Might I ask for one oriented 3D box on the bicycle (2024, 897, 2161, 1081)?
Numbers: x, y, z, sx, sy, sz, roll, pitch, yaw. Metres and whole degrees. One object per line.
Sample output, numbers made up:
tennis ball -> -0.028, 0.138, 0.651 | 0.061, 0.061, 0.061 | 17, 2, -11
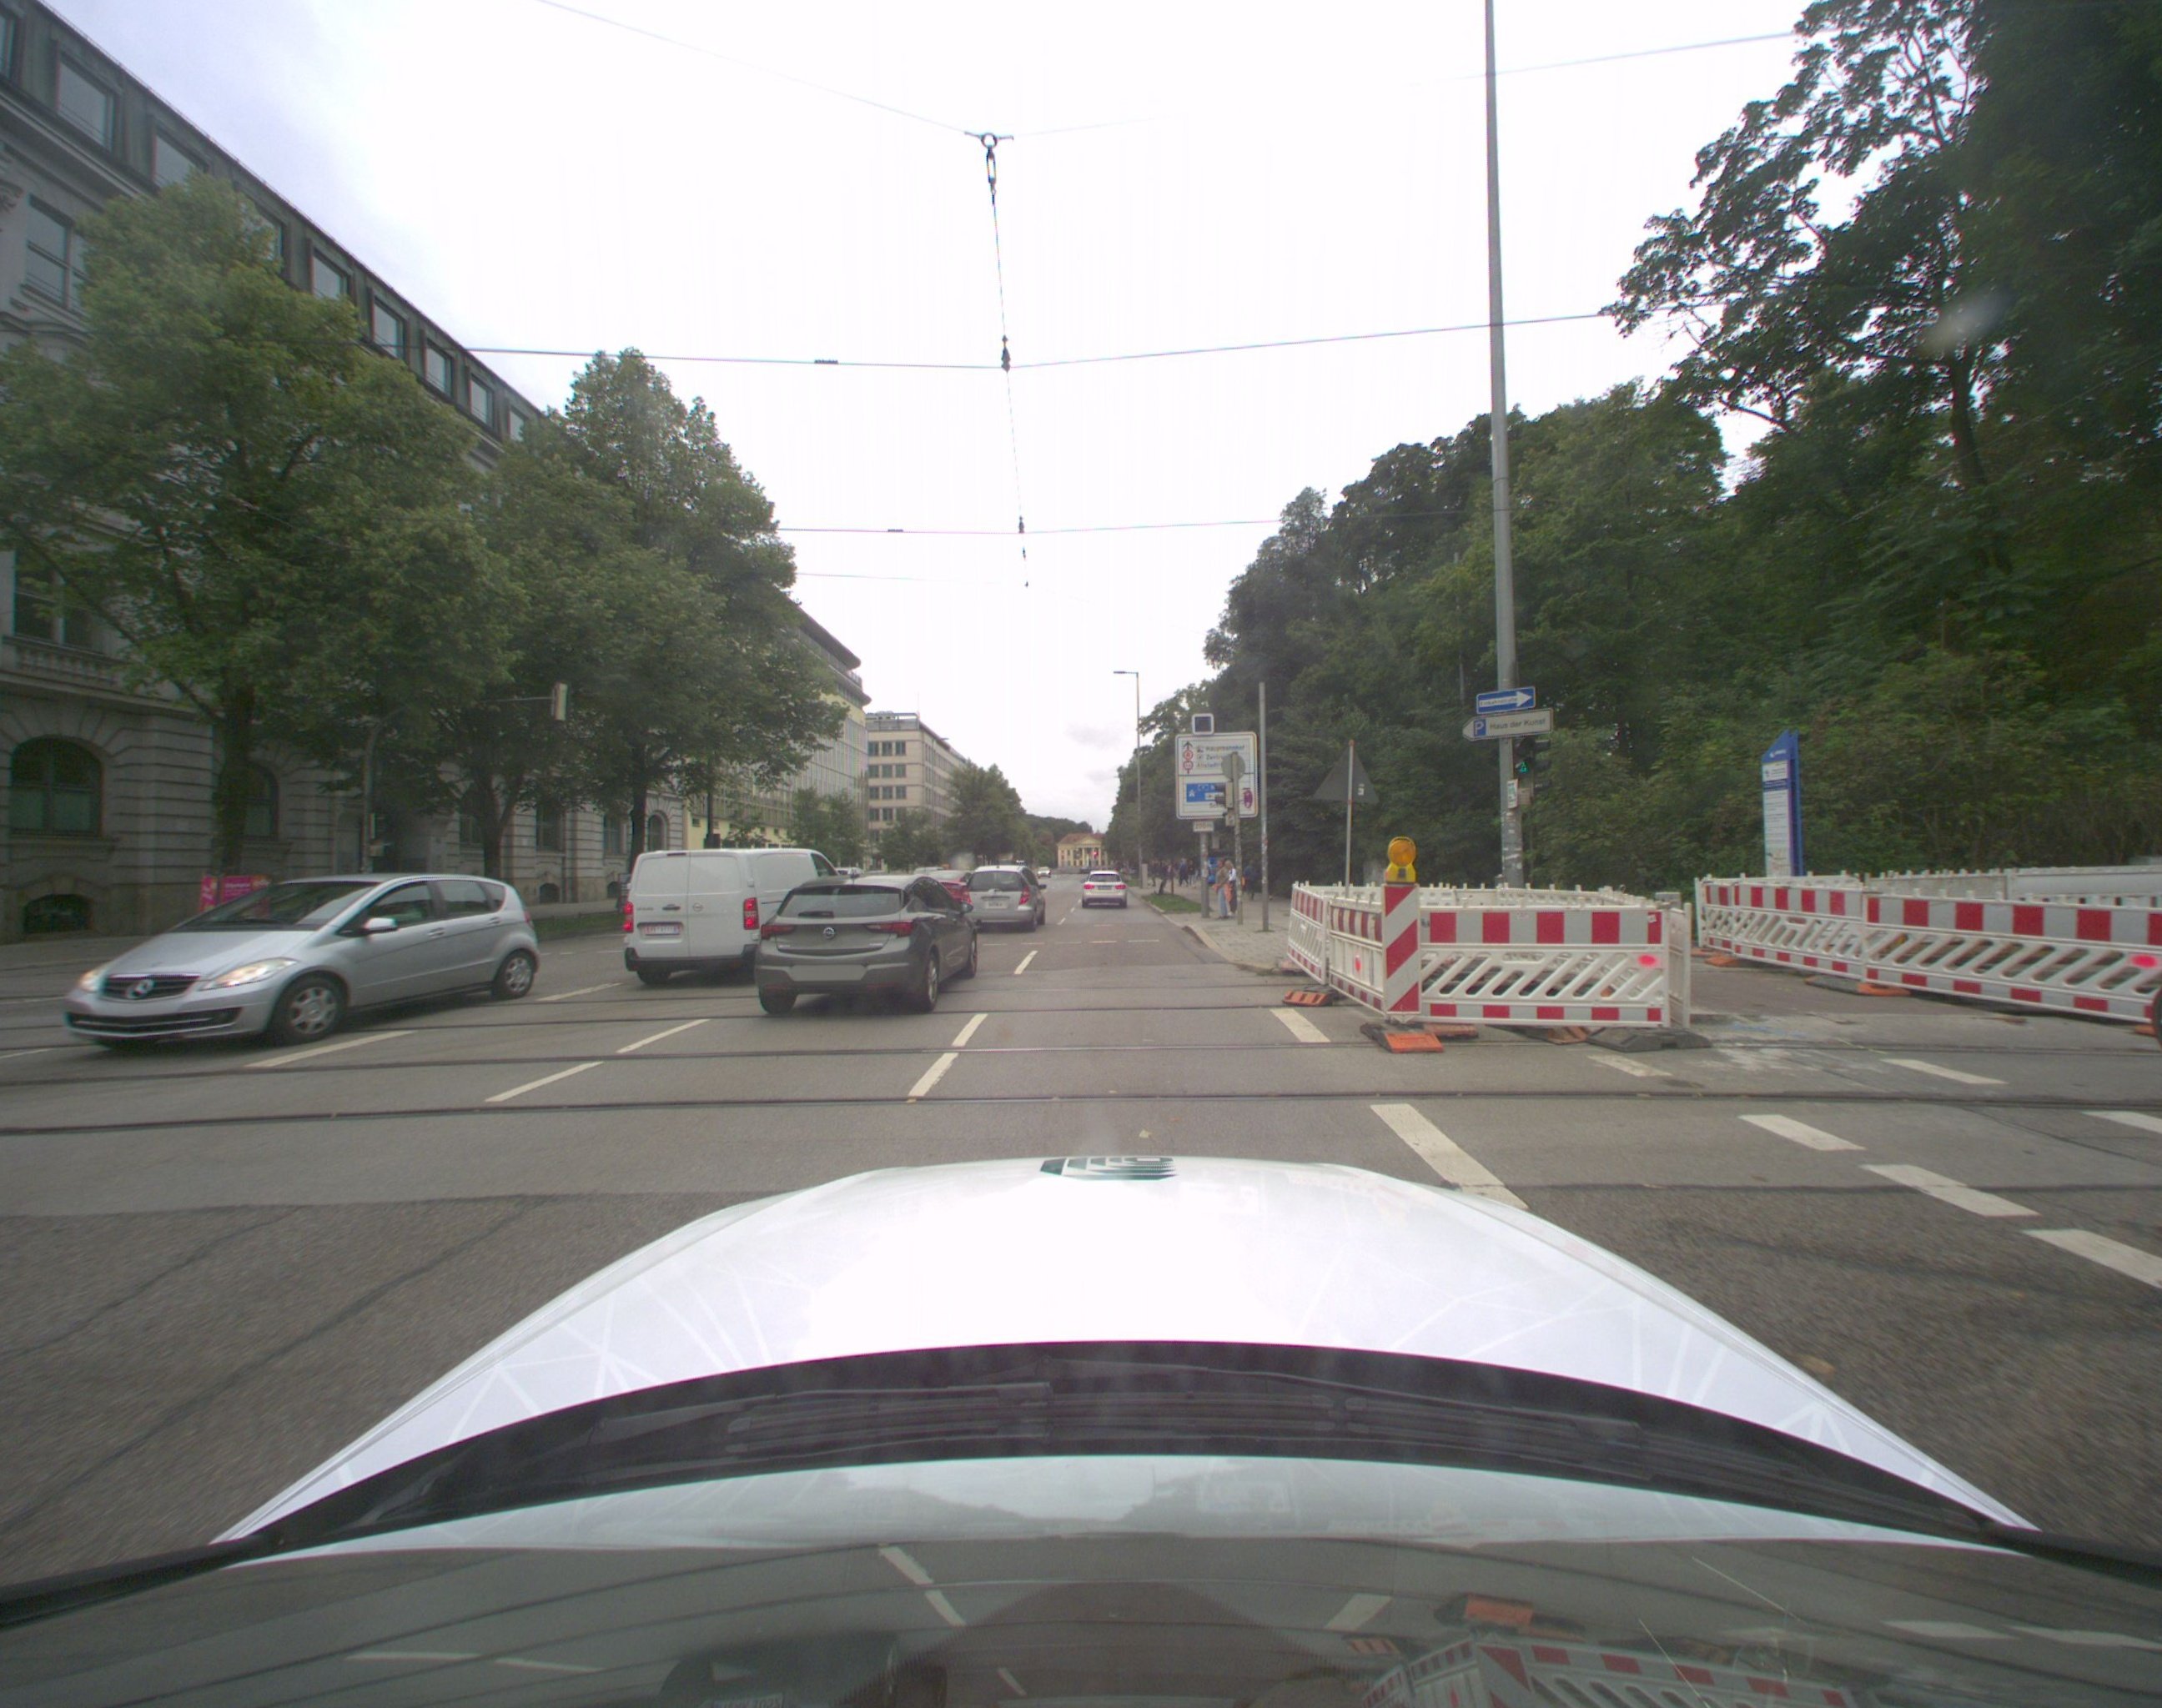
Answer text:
bicycle -> 6.815, 0.832, 4.558 | 0.734, 1.058, 2.166 | 1, 0, 6

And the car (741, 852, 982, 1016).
car -> -2.345, 0.812, 9.809 | 1.704, 1.552, 4.000 | 1, -1, 1

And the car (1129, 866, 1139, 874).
car -> 9.941, 3.013, 153.887 | 1.820, 1.550, 4.753 | -1, -2, 2

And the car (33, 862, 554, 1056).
car -> -7.758, 0.903, 8.681 | 1.628, 1.572, 3.947 | -1, -1, 2

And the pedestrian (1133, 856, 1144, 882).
pedestrian -> 3.956, 1.026, 56.041 | 0.705, 1.809, 0.639 | 1, -2, 1

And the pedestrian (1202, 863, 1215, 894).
pedestrian -> 8.048, 1.541, 51.426 | 0.705, 1.915, 0.956 | 1, -2, 1

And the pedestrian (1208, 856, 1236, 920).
pedestrian -> 3.938, 0.951, 22.756 | 0.607, 1.761, 0.635 | -1, -1, -4

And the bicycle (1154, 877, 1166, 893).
bicycle -> 4.039, 1.582, 41.638 | 0.491, 0.794, 1.890 | 1, -1, 2

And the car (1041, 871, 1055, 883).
car -> -4.891, 3.407, 120.903 | 1.814, 1.728, 3.882 | 1, -1, 2

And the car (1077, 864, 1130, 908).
car -> 0.847, 1.274, 33.060 | 1.775, 1.645, 3.994 | 1, -1, -3

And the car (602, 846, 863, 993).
car -> -5.119, 0.910, 12.885 | 1.891, 1.848, 4.956 | -1, -2, 1

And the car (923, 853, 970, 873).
car -> -17.293, 1.162, 105.061 | 5.667, 2.537, 2.154 | -1, -1, -3

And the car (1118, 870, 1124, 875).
car -> 11.758, 5.503, 238.367 | 1.717, 1.323, 4.030 | -1, 1, 2

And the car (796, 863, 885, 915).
car -> -7.765, 1.095, 26.621 | 1.628, 1.572, 3.947 | -1, -1, 2

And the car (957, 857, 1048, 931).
car -> -1.856, 0.941, 20.394 | 1.773, 1.654, 4.000 | 1, -1, 1

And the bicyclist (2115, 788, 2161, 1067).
bicyclist -> 6.822, 0.435, 4.616 | 0.753, 1.667, 0.900 | 1, -2, 5

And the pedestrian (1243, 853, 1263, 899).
pedestrian -> 6.936, 0.890, 32.810 | 0.668, 1.839, 0.641 | 1, -2, 2

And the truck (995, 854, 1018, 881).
truck -> -10.949, 2.061, 120.671 | 2.909, 3.775, 7.657 | 1, -1, -2

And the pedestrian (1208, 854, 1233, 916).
pedestrian -> 4.008, 0.891, 23.446 | 0.622, 1.761, 0.635 | 0, -2, 0

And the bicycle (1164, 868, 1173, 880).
bicycle -> 7.767, 1.807, 72.262 | 0.672, 1.030, 2.013 | 1, -1, 2

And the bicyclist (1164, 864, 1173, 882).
bicyclist -> 7.780, 1.692, 72.354 | 0.705, 1.562, 0.639 | 1, -1, 1

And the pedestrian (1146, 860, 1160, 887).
pedestrian -> 5.203, 1.412, 58.779 | 0.795, 1.881, 0.547 | -1, -2, 37

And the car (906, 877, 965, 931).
car -> -4.917, 1.606, 27.288 | 1.780, 1.654, 3.983 | 1, -1, -12

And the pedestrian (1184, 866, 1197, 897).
pedestrian -> 6.924, 1.725, 51.657 | 0.705, 1.915, 0.956 | 1, -2, 1

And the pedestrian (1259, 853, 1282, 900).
pedestrian -> 7.580, 0.892, 32.579 | 0.748, 1.839, 0.756 | 1, -2, 2

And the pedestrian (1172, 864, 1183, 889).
pedestrian -> 7.147, 1.648, 60.425 | 0.705, 1.809, 0.950 | 1, -2, 1

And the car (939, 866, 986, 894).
car -> -6.646, 1.467, 46.106 | 1.760, 1.423, 4.749 | -2, -1, 2

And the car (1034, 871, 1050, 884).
car -> -5.590, 3.360, 117.584 | 1.850, 1.749, 4.631 | -2, -1, 2

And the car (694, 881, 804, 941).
car -> -10.292, 1.704, 25.577 | 1.738, 1.596, 3.999 | -3, -1, 0
